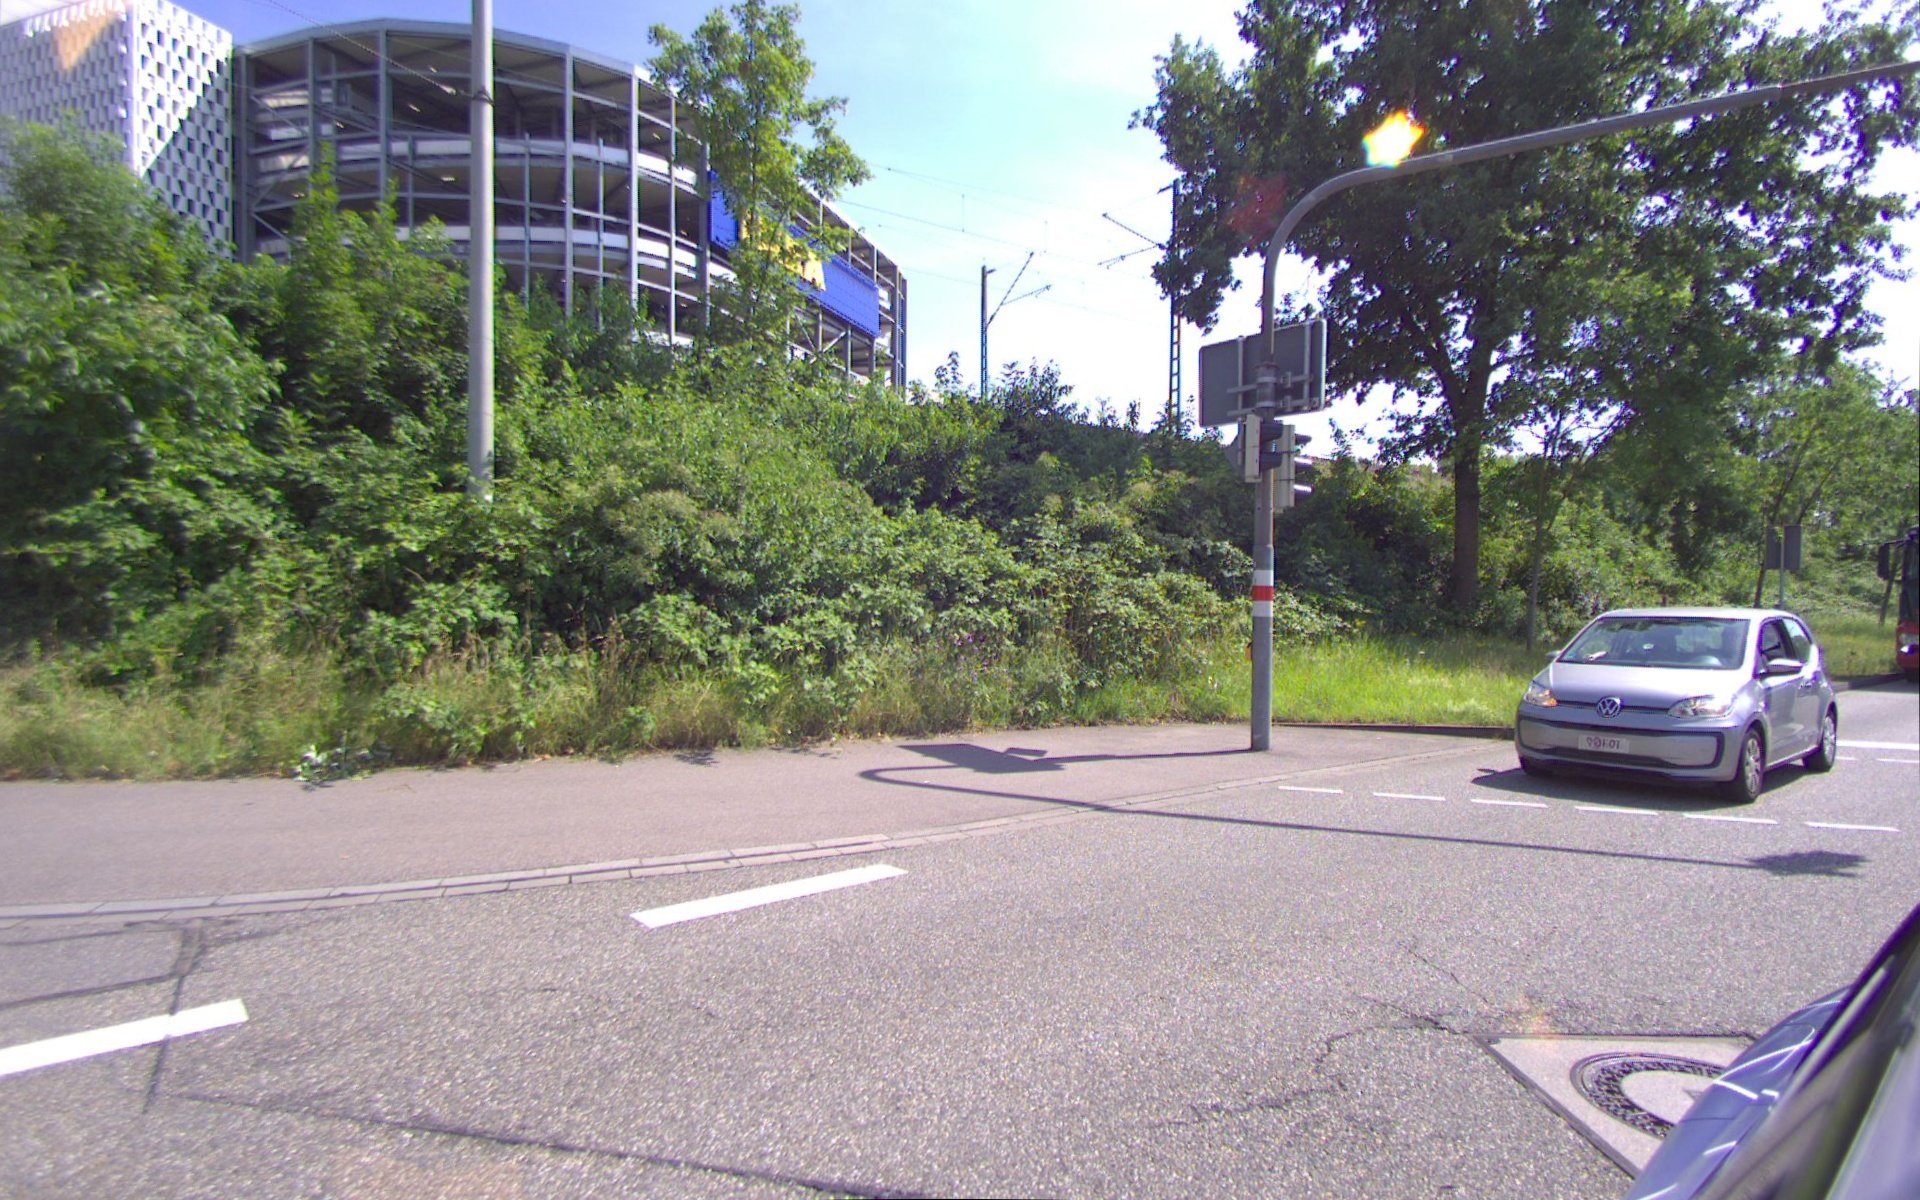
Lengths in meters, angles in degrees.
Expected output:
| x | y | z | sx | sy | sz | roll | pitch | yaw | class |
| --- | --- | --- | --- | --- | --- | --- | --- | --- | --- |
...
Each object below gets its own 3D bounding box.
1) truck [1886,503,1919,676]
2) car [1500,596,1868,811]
| x | y | z | sx | sy | sz | roll | pitch | yaw | class |
| --- | --- | --- | --- | --- | --- | --- | --- | --- | --- |
| 21.875 | -0.179 | 20.809 | 7.342 | 3.308 | 2.777 | 0 | 1 | -36 | truck |
| 6.385 | 0.708 | 8.809 | 3.612 | 1.455 | 1.705 | 0 | 1 | -39 | car |
